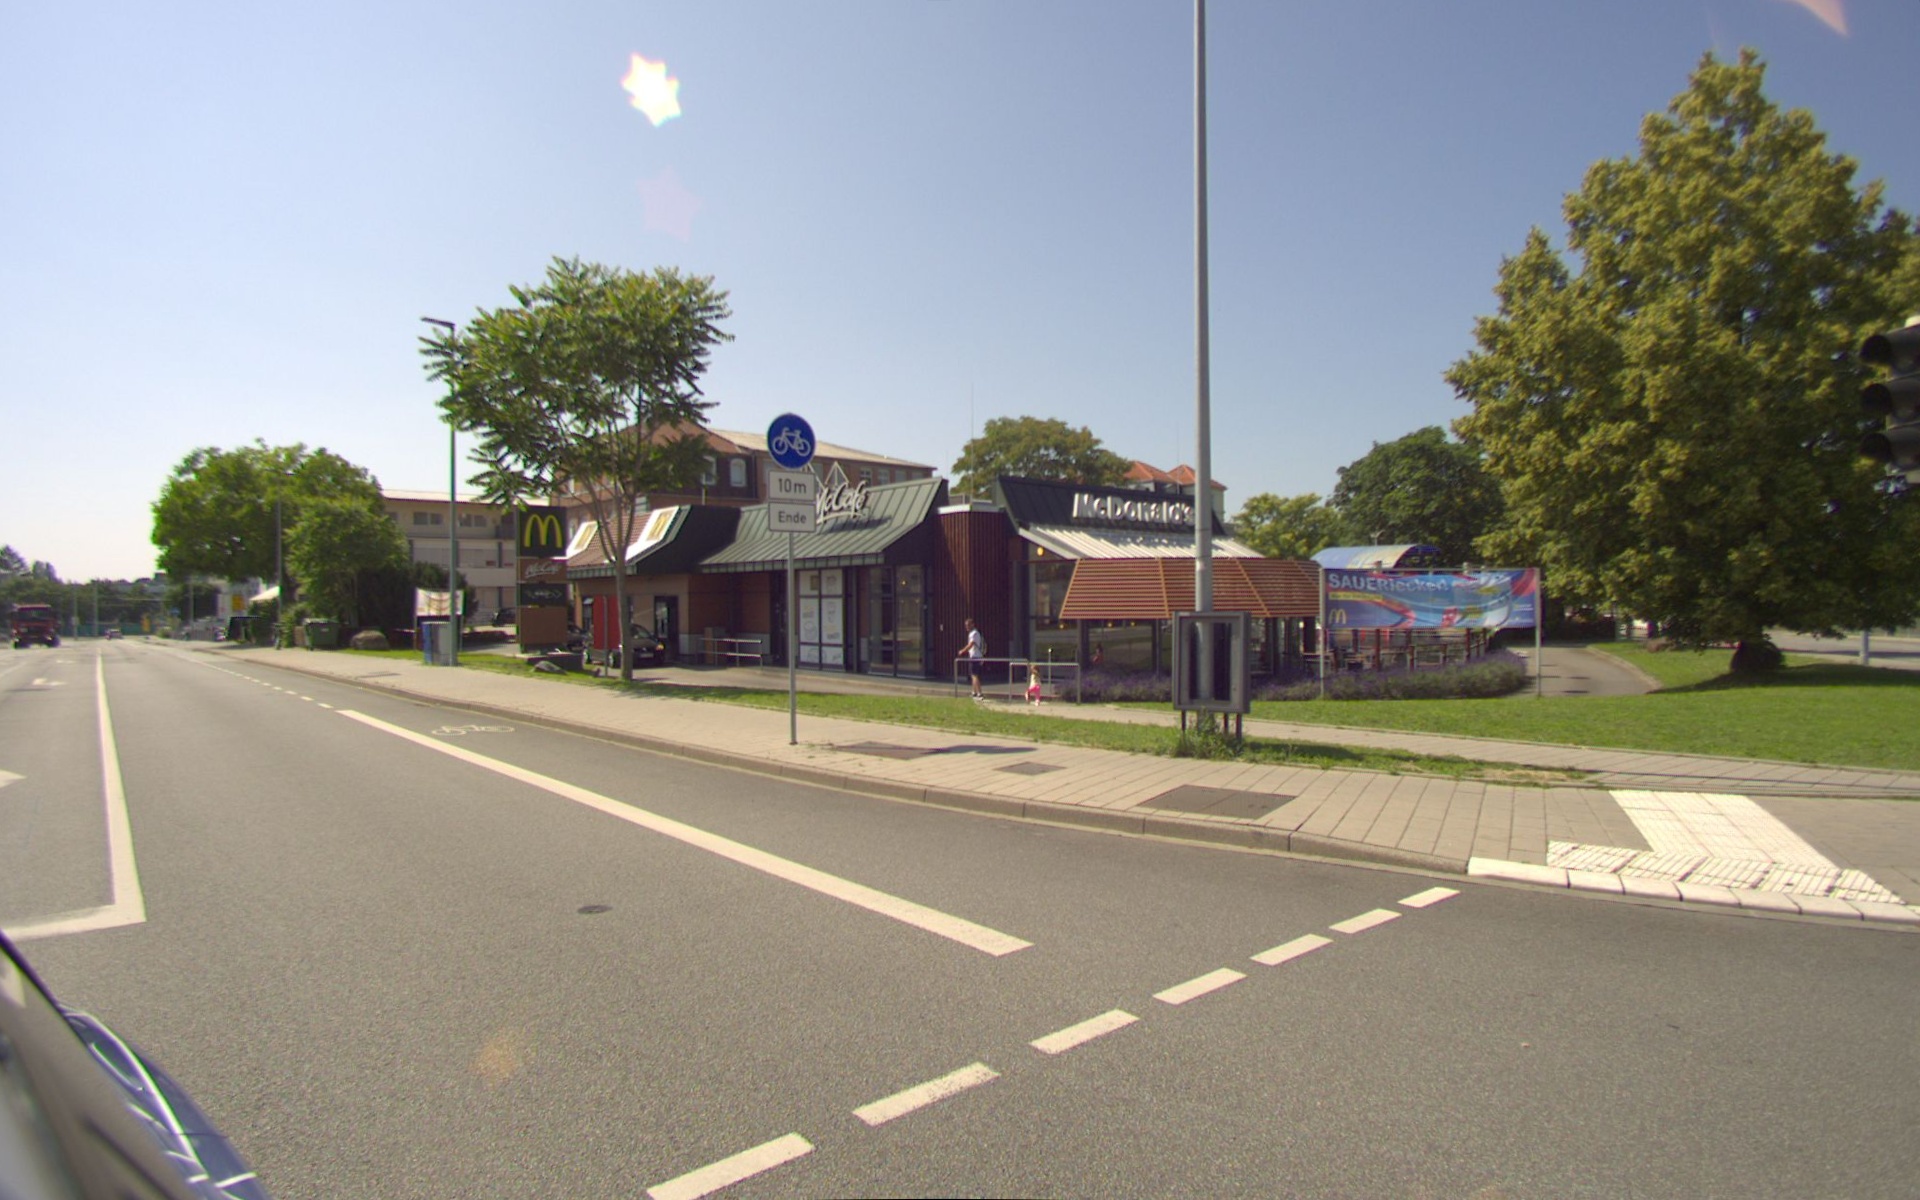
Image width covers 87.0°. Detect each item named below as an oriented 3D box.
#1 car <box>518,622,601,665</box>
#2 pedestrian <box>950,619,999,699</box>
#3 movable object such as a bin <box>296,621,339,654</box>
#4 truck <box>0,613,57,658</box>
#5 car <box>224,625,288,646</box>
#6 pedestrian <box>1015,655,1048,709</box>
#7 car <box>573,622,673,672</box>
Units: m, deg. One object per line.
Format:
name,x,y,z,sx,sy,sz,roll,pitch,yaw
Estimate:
car,-15.773,1.660,39.730,1.836,1.564,4.195,0,-1,-40
pedestrian,0.330,1.326,22.949,0.890,1.771,0.630,-1,-1,36
movable object such as a bin,-29.112,1.670,45.825,1.446,1.422,1.458,0,-1,-41
truck,-75.707,2.796,82.330,3.263,3.411,9.180,-1,0,-42
car,-51.923,2.603,74.630,3.844,1.408,1.656,-1,-1,-36
pedestrian,1.383,1.581,19.583,0.376,1.005,0.511,0,-1,-45
car,-11.549,1.553,34.529,1.836,1.564,4.195,0,-1,-40
